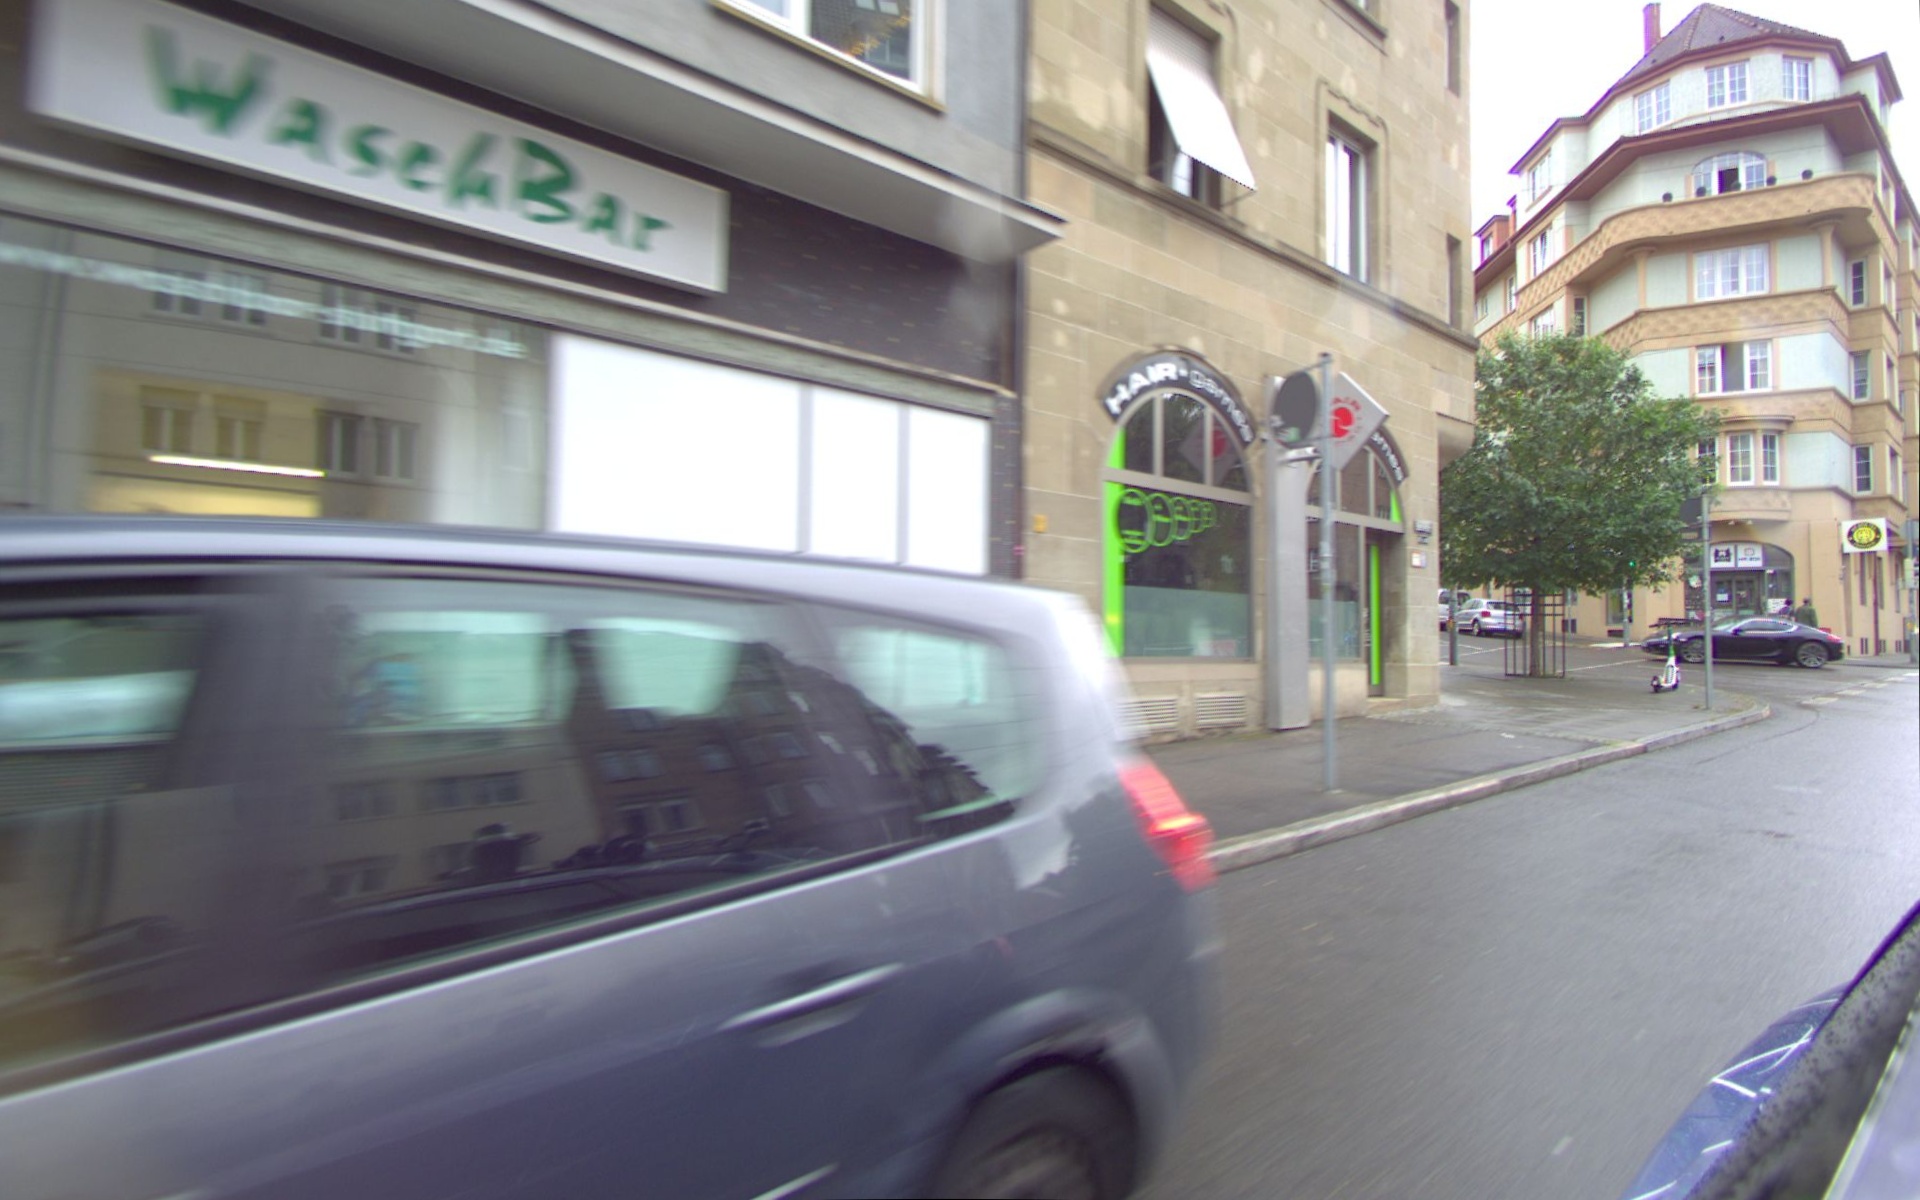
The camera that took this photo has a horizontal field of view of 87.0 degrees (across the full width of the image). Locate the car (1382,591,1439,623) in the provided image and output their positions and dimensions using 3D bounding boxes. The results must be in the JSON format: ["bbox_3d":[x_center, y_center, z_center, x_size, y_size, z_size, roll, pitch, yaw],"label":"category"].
[{"bbox_3d":[21.178,0.315,47.651,1.421,1.443,3.294,1,0,5],"label":"car"}]

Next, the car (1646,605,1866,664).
[{"bbox_3d":[20.677,0.856,26.502,4.145,1.303,1.694,2,1,21],"label":"car"}]

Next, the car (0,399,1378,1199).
[{"bbox_3d":[-1.292,0.608,1.700,4.661,1.579,1.769,1,0,-40],"label":"car"}]

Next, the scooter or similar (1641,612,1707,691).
[{"bbox_3d":[11.813,0.818,16.719,1.527,1.225,0.638,1,-1,-45],"label":"scooter or similar"}]

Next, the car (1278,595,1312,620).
[{"bbox_3d":[22.776,0.472,68.942,1.421,1.594,3.280,-2,0,5],"label":"car"}]

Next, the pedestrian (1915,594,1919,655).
[{"bbox_3d":[29.893,0.781,30.853,0.886,1.863,0.967,1,1,-40],"label":"pedestrian"}]

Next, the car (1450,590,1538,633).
[{"bbox_3d":[20.377,0.412,38.765,1.661,1.478,3.530,3,0,5],"label":"car"}]

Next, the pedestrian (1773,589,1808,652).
[{"bbox_3d":[24.439,0.584,29.767,0.887,1.811,0.682,1,0,-44],"label":"pedestrian"}]

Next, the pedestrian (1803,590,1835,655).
[{"bbox_3d":[24.704,0.636,29.091,0.876,1.811,0.594,1,0,-44],"label":"pedestrian"}]

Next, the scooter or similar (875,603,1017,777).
[{"bbox_3d":[-0.089,0.644,7.681,1.088,1.232,0.395,1,-2,-42],"label":"scooter or similar"}]

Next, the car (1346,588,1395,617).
[{"bbox_3d":[21.755,0.118,53.720,1.421,1.443,3.294,-2,0,5],"label":"car"}]

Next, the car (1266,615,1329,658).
[{"bbox_3d":[15.835,1.666,47.703,1.715,1.747,4.352,-3,1,5],"label":"car"}]

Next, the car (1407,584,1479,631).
[{"bbox_3d":[20.749,0.295,43.592,1.577,1.868,3.550,-2,0,5],"label":"car"}]
